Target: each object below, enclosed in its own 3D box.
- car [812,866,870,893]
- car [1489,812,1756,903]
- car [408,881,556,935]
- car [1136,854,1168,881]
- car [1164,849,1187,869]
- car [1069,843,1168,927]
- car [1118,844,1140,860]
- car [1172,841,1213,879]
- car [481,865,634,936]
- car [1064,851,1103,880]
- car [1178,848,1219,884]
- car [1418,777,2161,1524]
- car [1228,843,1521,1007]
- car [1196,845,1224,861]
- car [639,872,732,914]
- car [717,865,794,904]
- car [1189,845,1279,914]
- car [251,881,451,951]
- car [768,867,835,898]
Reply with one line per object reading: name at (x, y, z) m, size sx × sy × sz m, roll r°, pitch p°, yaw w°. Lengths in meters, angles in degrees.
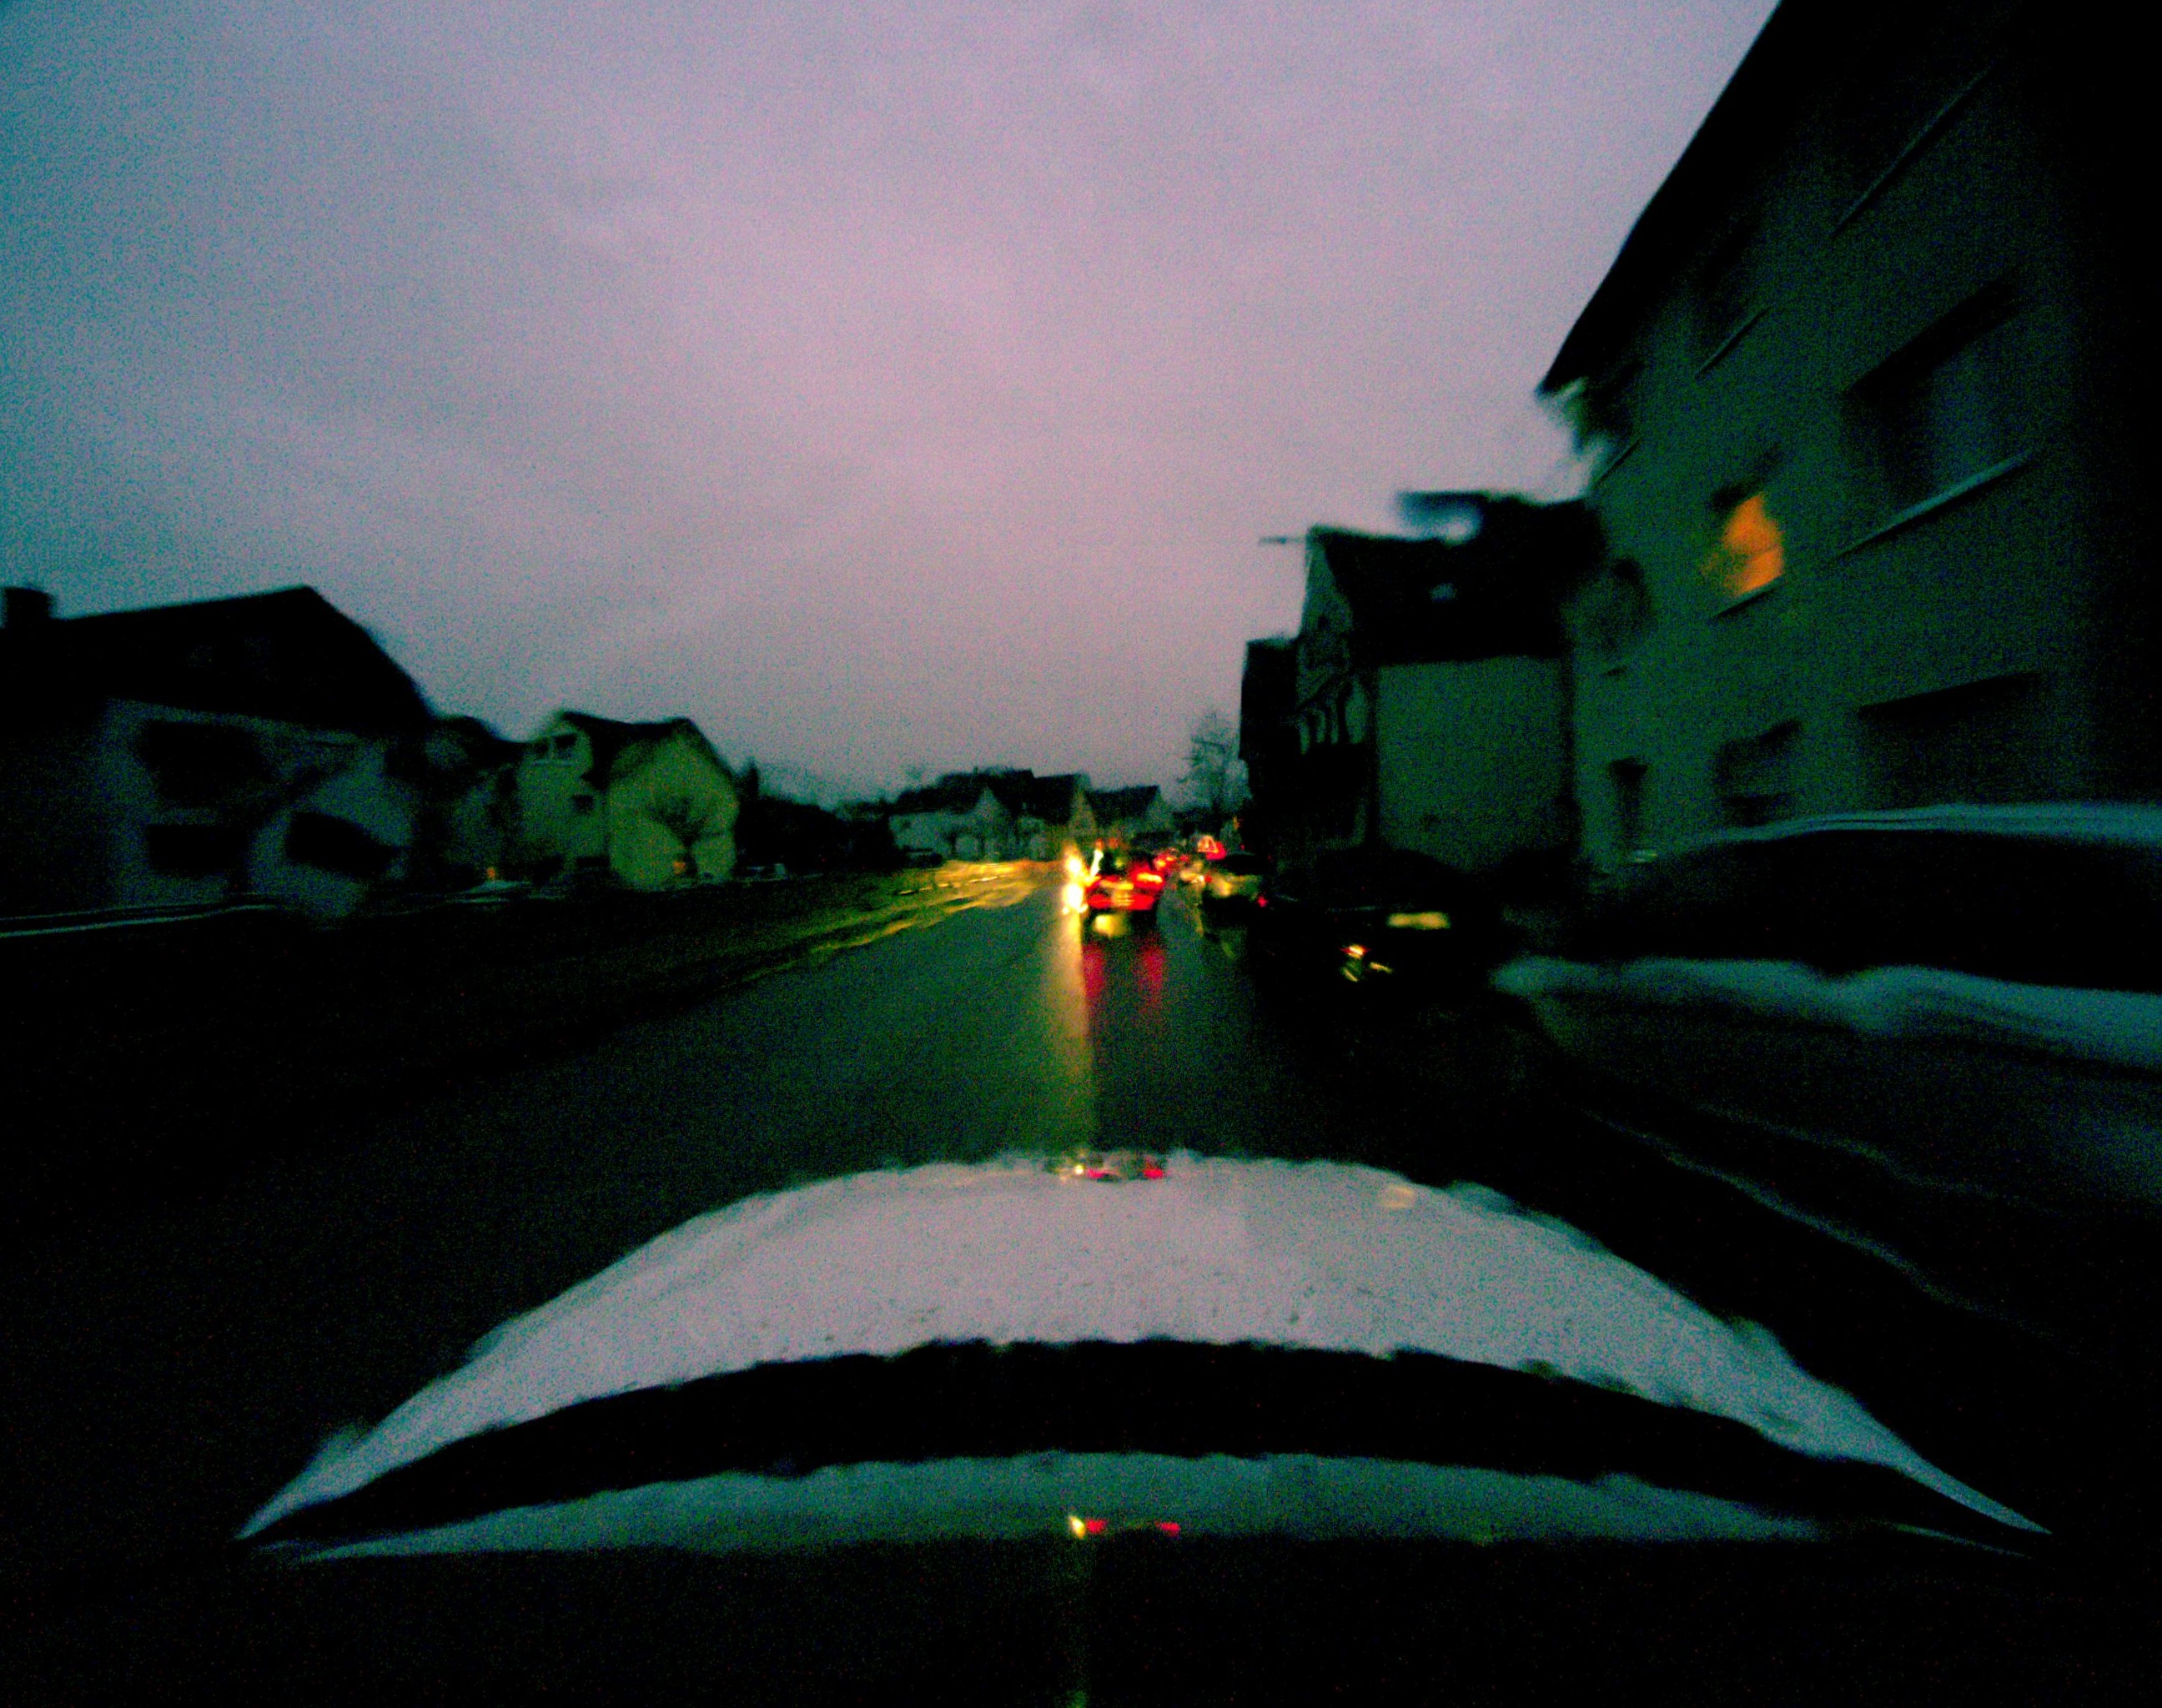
car at (-16.218, 1.707, 55.339) m, size 1.862 × 1.433 × 4.515 m, roll -4°, pitch 1°, yaw 10°
car at (10.965, 0.084, 16.798) m, size 4.122 × 1.555 × 1.869 m, roll -3°, pitch -1°, yaw 10°
car at (-20.462, 1.788, 28.072) m, size 1.759 × 1.523 × 4.039 m, roll -3°, pitch -1°, yaw 7°
car at (3.993, 0.720, 46.403) m, size 1.675 × 1.453 × 4.003 m, roll -1°, pitch 0°, yaw 3°
car at (7.614, 0.355, 65.526) m, size 1.805 × 1.412 × 4.008 m, roll -2°, pitch 1°, yaw 7°
car at (0.818, 0.604, 18.622) m, size 1.957 × 1.594 × 4.315 m, roll -2°, pitch 1°, yaw 1°
car at (6.210, -0.307, 105.446) m, size 2.035 × 1.925 × 4.048 m, roll -3°, pitch 1°, yaw -6°
car at (5.902, 0.268, 42.688) m, size 1.758 × 1.782 × 4.012 m, roll -6°, pitch 0°, yaw 11°
car at (-15.320, 1.287, 24.099) m, size 1.792 × 1.803 × 3.864 m, roll -3°, pitch -1°, yaw 3°
car at (0.166, 0.609, 44.906) m, size 1.723 × 1.536 × 3.788 m, roll 0°, pitch 0°, yaw 6°
car at (5.274, 0.502, 36.899) m, size 1.637 × 1.415 × 2.732 m, roll -5°, pitch 0°, yaw 6°
car at (3.109, 0.585, 3.288) m, size 1.658 × 1.575 × 4.498 m, roll -3°, pitch 0°, yaw 1°
car at (3.207, 0.658, 10.155) m, size 1.949 × 1.532 × 5.010 m, roll 0°, pitch 0°, yaw 1°
car at (12.797, -0.091, 80.517) m, size 1.977 × 1.391 × 4.020 m, roll -3°, pitch 1°, yaw 19°
car at (-18.984, 1.827, 39.288) m, size 1.863 × 1.598 × 4.235 m, roll -4°, pitch 0°, yaw 8°
car at (-18.000, 1.664, 45.295) m, size 1.863 × 1.778 × 4.512 m, roll -4°, pitch 0°, yaw 8°
car at (3.792, 0.582, 20.836) m, size 1.645 × 1.455 × 4.242 m, roll -5°, pitch 0°, yaw 4°
car at (-20.709, 1.679, 23.359) m, size 1.848 × 1.681 × 4.008 m, roll 0°, pitch 0°, yaw 7°
car at (-17.230, 1.732, 50.437) m, size 1.862 × 1.572 × 4.515 m, roll -4°, pitch 0°, yaw 10°
